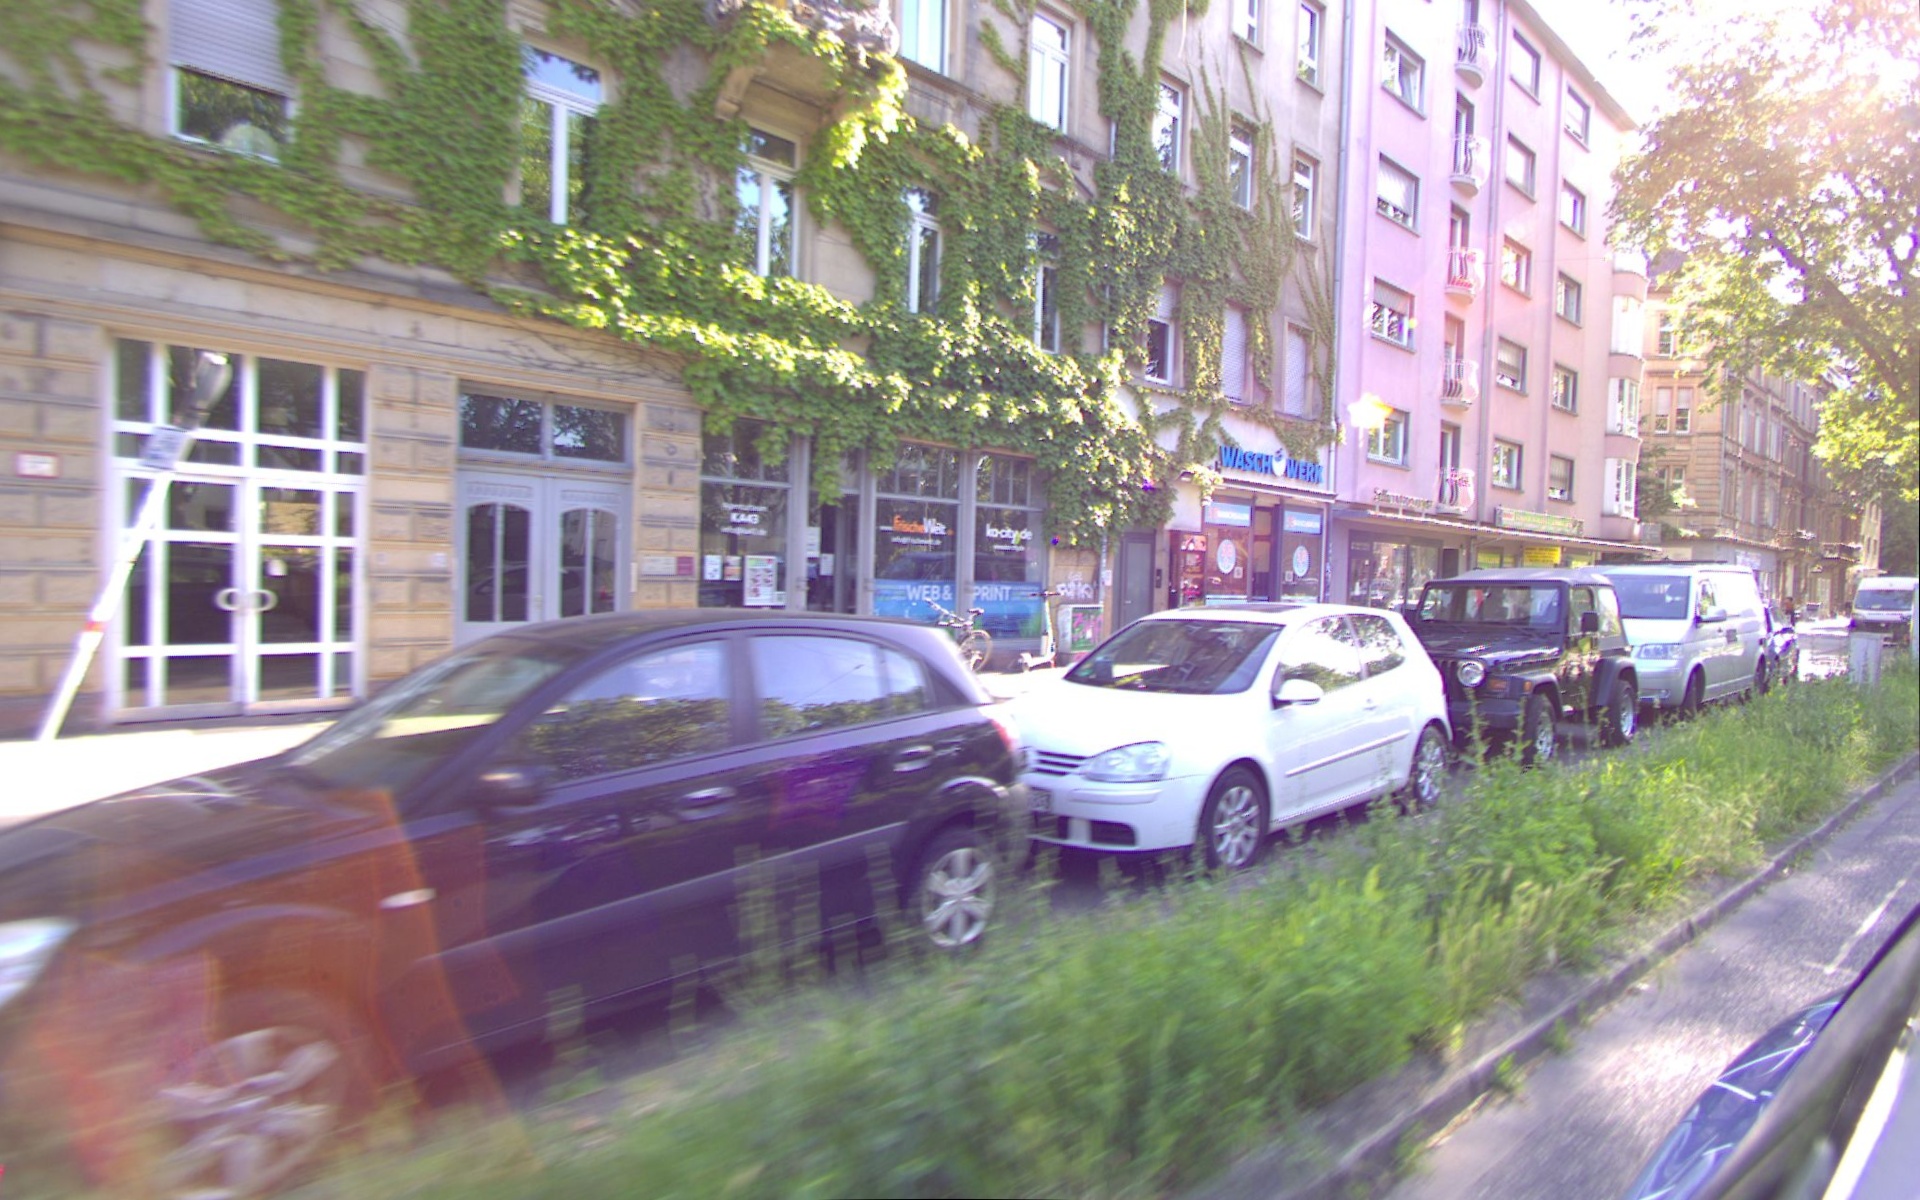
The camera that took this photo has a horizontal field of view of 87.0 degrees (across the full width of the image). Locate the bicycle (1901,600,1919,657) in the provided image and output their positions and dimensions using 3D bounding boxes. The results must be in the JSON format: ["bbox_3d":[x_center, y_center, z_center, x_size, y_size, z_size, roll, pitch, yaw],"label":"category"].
[{"bbox_3d":[21.508,0.614,22.558,1.718,1.229,0.466,0,1,-37],"label":"bicycle"}]

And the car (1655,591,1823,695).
[{"bbox_3d":[13.244,0.650,17.132,3.763,1.497,1.592,0,2,-43],"label":"car"}]

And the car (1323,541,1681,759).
[{"bbox_3d":[5.595,0.379,10.270,3.929,1.785,1.868,0,2,-41],"label":"car"}]

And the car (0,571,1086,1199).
[{"bbox_3d":[-1.422,0.713,3.835,3.932,1.537,1.642,0,-1,-43],"label":"car"}]

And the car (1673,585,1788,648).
[{"bbox_3d":[22.282,0.446,29.226,4.064,1.621,1.814,0,2,-41],"label":"car"}]

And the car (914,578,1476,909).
[{"bbox_3d":[1.745,0.673,6.705,3.932,1.537,1.740,0,-1,-43],"label":"car"}]

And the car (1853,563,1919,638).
[{"bbox_3d":[33.622,0.012,35.921,5.753,2.464,2.078,0,1,-41],"label":"car"}]

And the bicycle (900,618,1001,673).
[{"bbox_3d":[-0.119,0.637,14.574,1.486,0.714,0.469,1,2,-41],"label":"bicycle"}]

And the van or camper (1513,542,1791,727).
[{"bbox_3d":[9.386,0.346,13.532,5.007,2.038,1.887,0,2,-42],"label":"van or camper"}]

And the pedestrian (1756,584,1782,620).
[{"bbox_3d":[36.470,0.100,45.617,0.718,1.585,0.738,1,1,-41],"label":"pedestrian"}]
